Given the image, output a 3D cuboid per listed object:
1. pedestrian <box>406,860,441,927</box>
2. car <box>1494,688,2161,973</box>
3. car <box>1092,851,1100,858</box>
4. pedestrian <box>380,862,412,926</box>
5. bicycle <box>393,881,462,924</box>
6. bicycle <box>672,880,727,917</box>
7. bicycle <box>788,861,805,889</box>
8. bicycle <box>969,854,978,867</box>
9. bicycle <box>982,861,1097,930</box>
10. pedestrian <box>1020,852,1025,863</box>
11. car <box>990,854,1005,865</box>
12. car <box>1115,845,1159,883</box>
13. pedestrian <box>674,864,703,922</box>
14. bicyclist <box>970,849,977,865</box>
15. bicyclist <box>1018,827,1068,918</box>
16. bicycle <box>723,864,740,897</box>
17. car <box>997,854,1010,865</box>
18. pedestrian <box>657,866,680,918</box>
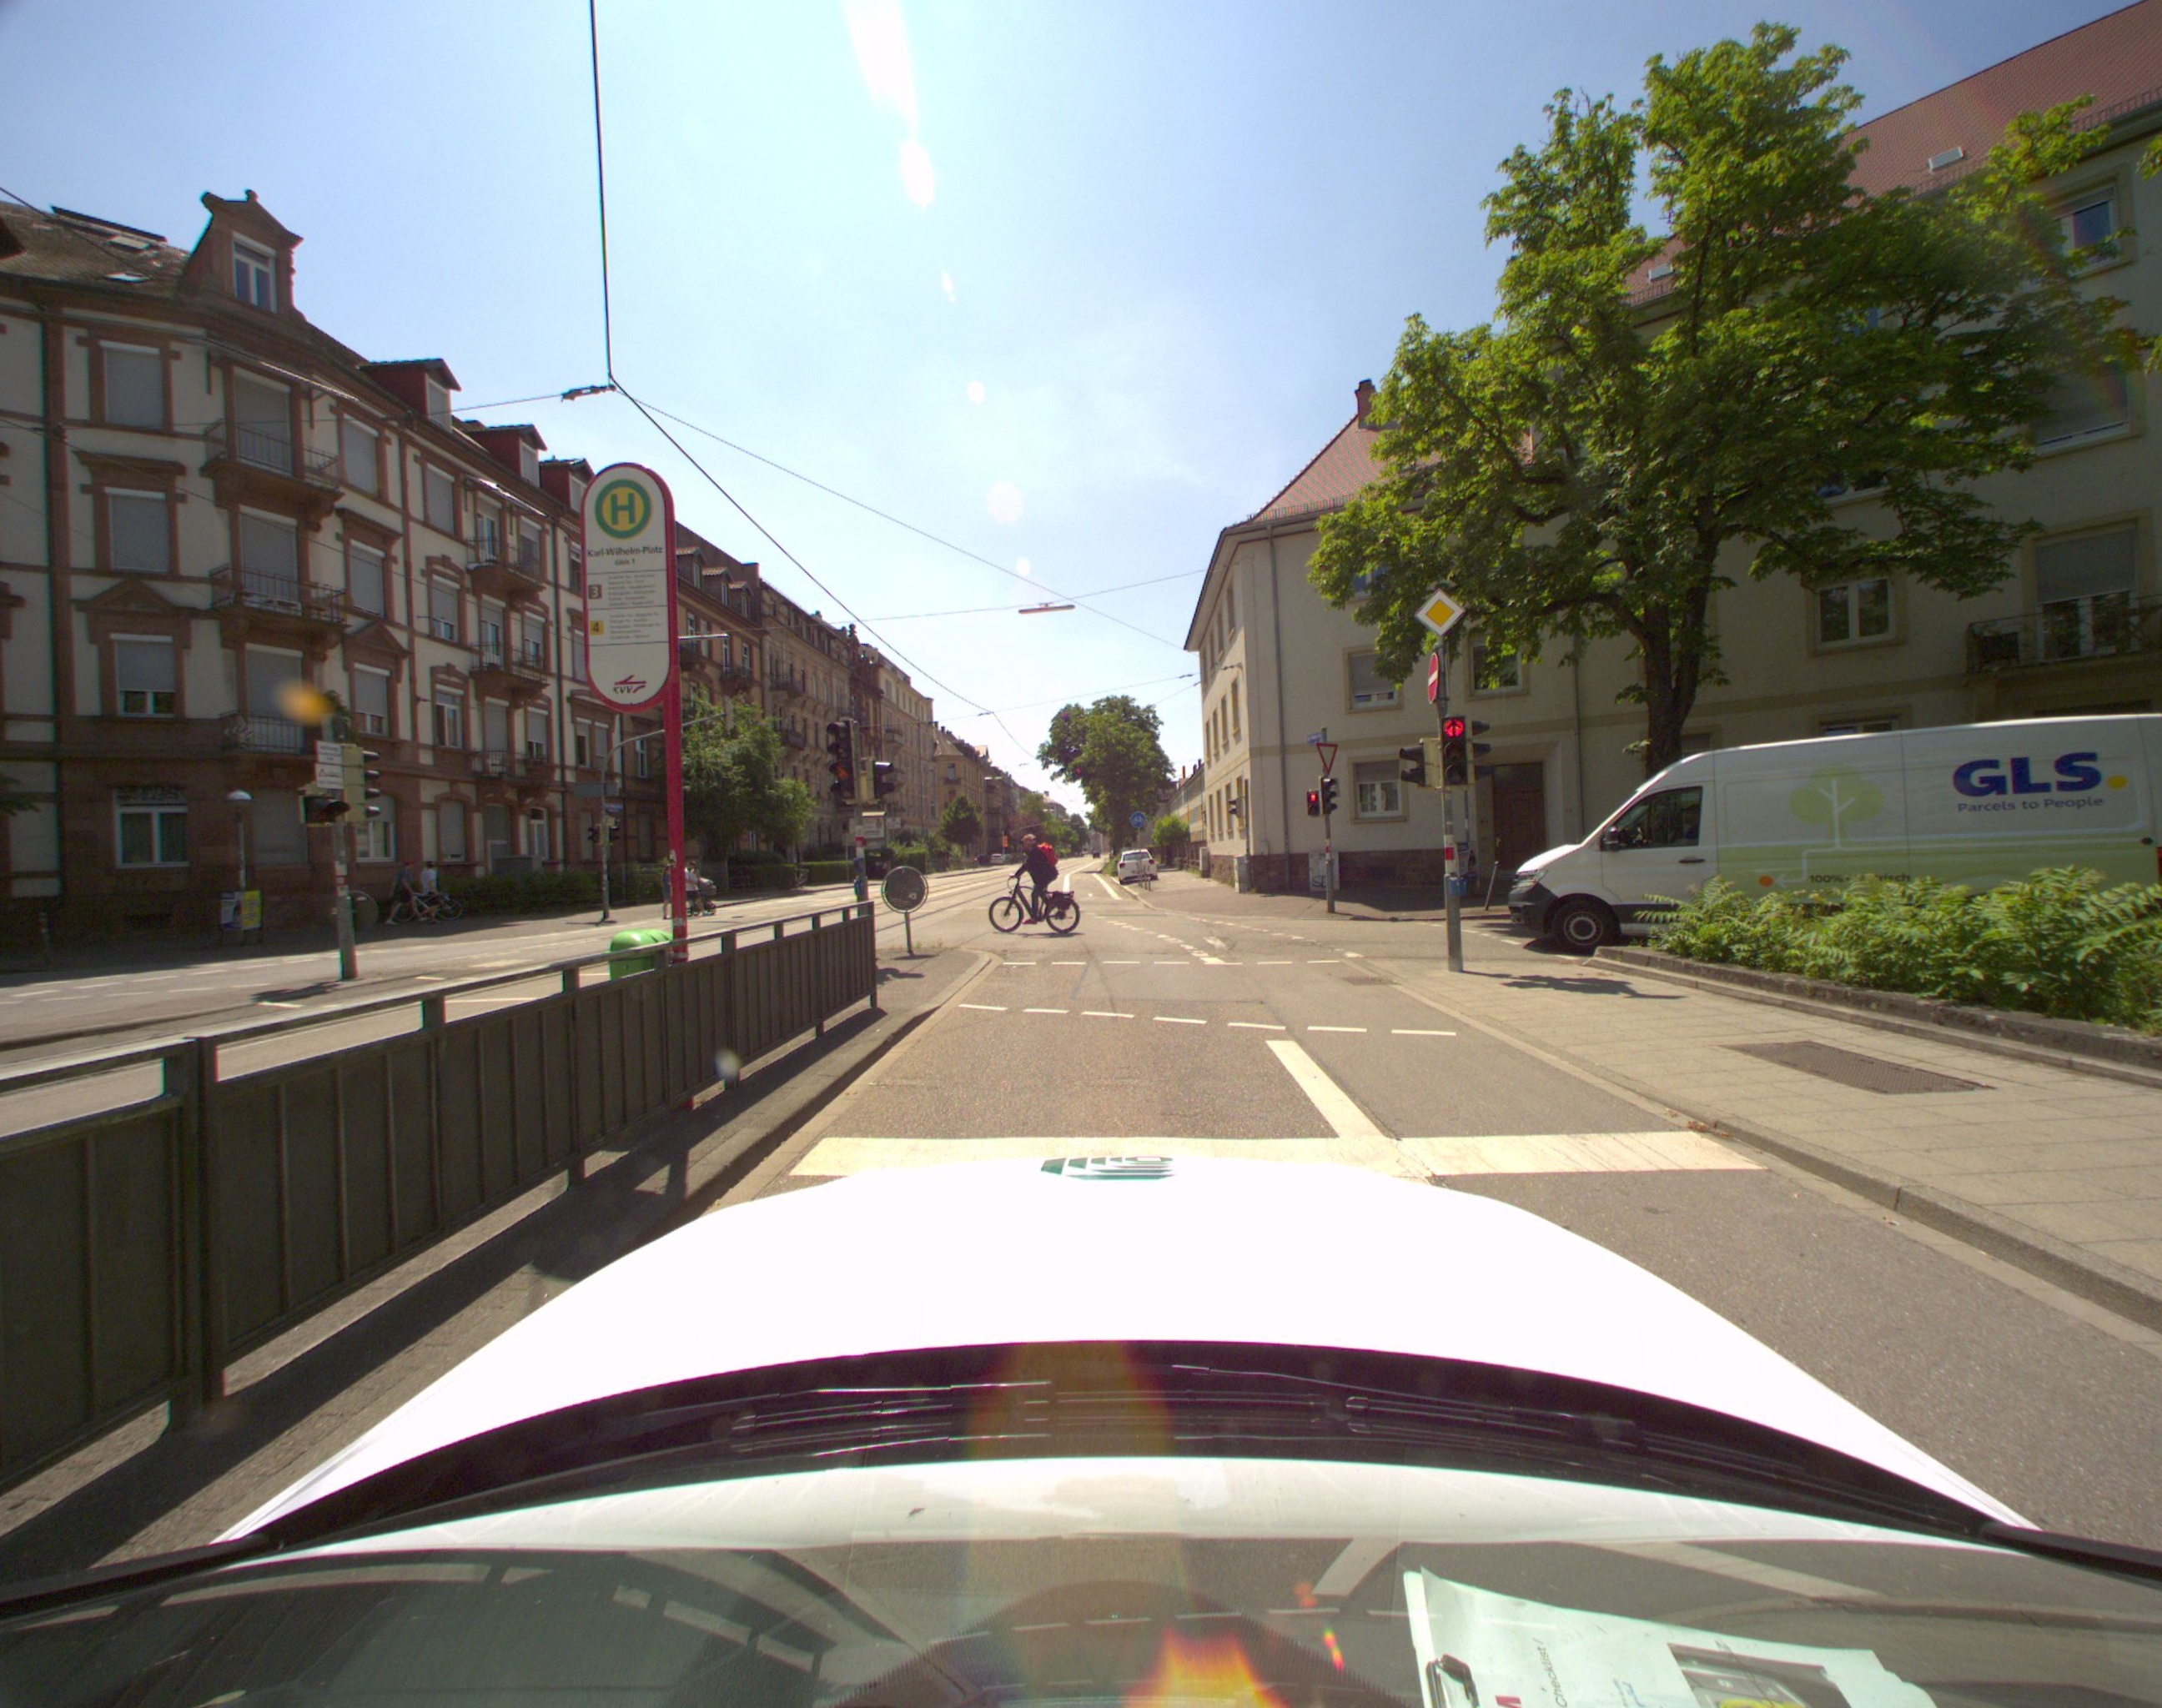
[{"bbox_3d":[-18.546,1.102,22.977,0.565,1.825,0.631,-1,-1,-20],"label":"pedestrian"},{"bbox_3d":[8.514,-0.170,9.962,5.776,2.590,2.012,-2,0,43],"label":"car"},{"bbox_3d":[3.323,0.033,180.113,1.519,1.444,3.367,-4,0,2],"label":"car"},{"bbox_3d":[-19.231,1.106,22.864,0.508,1.768,0.525,-1,-1,-20],"label":"pedestrian"},{"bbox_3d":[-19.287,1.425,24.072,1.522,1.169,0.362,-1,1,-25],"label":"bicycle"},{"bbox_3d":[-11.516,1.322,24.593,1.410,1.013,0.384,-3,0,-39],"label":"bicycle"},{"bbox_3d":[-14.423,1.073,41.235,0.594,1.356,2.420,-1,0,-24],"label":"bicycle"},{"bbox_3d":[-11.638,0.715,88.412,0.575,1.388,2.502,-2,0,2],"label":"bicycle"},{"bbox_3d":[-0.783,0.768,15.192,2.062,1.236,0.584,-2,-1,24],"label":"bicycle"},{"bbox_3d":[-9.142,0.570,127.492,0.675,1.727,0.677,-2,-1,1],"label":"pedestrian"},{"bbox_3d":[-11.892,0.757,116.079,1.679,1.472,3.937,-5,0,0],"label":"car"},{"bbox_3d":[2.507,0.444,37.297,1.741,1.472,3.939,-5,0,1],"label":"car"},{"bbox_3d":[-11.376,1.117,23.611,0.657,1.615,0.464,-1,2,-40],"label":"pedestrian"},{"bbox_3d":[-11.650,0.311,88.290,0.540,1.763,0.498,-1,-1,1],"label":"bicyclist"},{"bbox_3d":[-0.705,0.347,15.153,0.687,1.646,0.584,-2,-1,26],"label":"bicyclist"},{"bbox_3d":[-15.235,1.127,35.457,0.617,1.395,2.289,-1,0,-24],"label":"bicycle"},{"bbox_3d":[-11.786,0.808,124.146,1.623,1.472,3.563,-5,0,0],"label":"car"},{"bbox_3d":[-12.452,1.143,24.580,0.510,1.516,0.464,-1,-1,-40],"label":"pedestrian"}]
